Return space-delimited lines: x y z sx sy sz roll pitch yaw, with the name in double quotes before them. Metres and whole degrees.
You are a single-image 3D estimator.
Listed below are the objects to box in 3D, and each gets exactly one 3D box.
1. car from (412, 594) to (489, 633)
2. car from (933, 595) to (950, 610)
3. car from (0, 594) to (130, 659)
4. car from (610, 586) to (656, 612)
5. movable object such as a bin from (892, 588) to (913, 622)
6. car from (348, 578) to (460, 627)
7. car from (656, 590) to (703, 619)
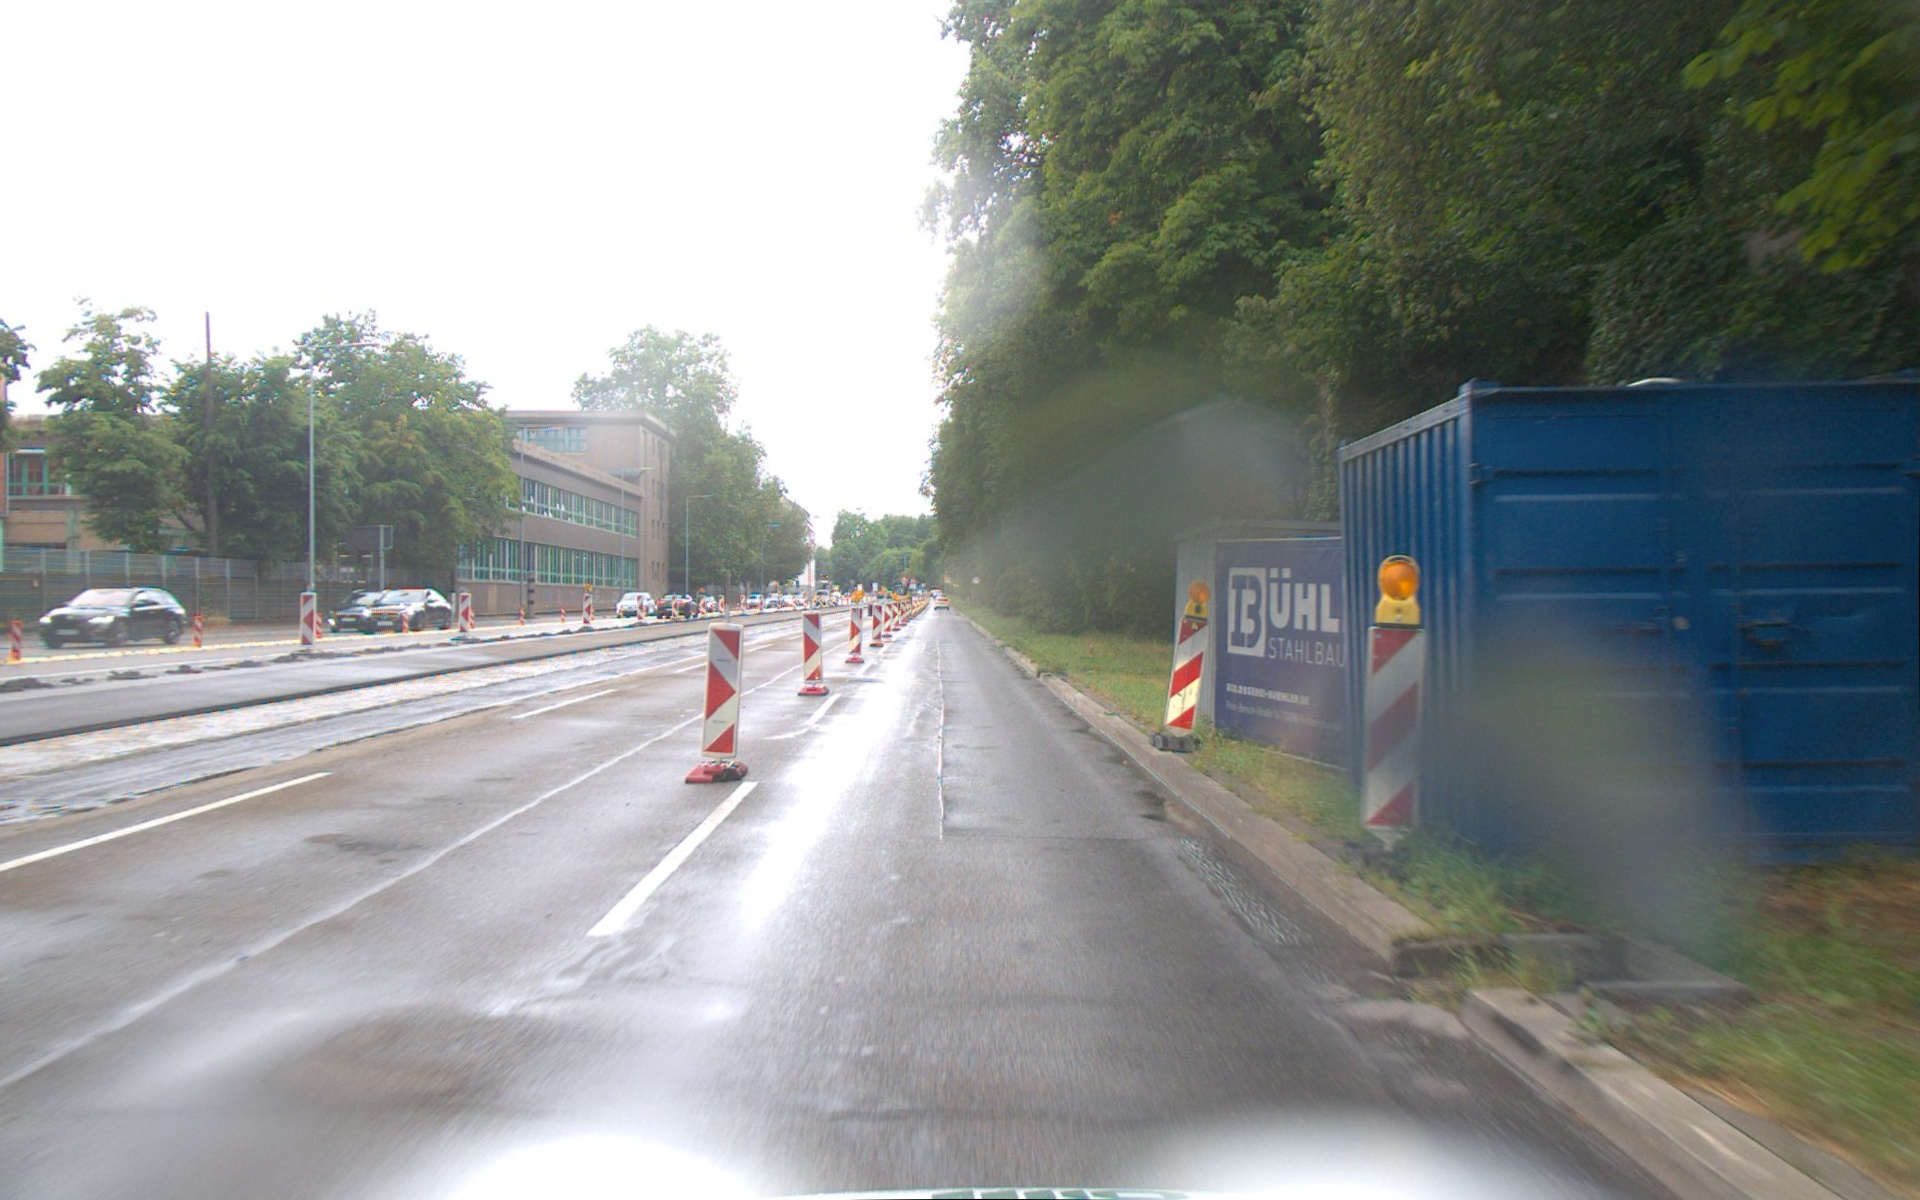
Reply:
"car" -21.490 0.556 69.917 1.953 1.544 4.304 1 0 -1
"car" -2.131 0.261 195.231 1.953 1.702 3.999 1 0 -1
"car" -21.034 0.569 37.605 1.952 1.371 4.566 1 0 1
"car" -19.581 -0.079 99.249 1.953 1.539 4.265 1 0 -1
"movable object such as a bin" -5.921 0.522 170.711 1.953 3.426 5.981 1 0 -1
"car" -18.519 0.053 55.330 2.036 1.539 5.089 1 0 -1
"car" -15.659 0.272 92.500 1.953 1.545 3.999 1 0 -1
